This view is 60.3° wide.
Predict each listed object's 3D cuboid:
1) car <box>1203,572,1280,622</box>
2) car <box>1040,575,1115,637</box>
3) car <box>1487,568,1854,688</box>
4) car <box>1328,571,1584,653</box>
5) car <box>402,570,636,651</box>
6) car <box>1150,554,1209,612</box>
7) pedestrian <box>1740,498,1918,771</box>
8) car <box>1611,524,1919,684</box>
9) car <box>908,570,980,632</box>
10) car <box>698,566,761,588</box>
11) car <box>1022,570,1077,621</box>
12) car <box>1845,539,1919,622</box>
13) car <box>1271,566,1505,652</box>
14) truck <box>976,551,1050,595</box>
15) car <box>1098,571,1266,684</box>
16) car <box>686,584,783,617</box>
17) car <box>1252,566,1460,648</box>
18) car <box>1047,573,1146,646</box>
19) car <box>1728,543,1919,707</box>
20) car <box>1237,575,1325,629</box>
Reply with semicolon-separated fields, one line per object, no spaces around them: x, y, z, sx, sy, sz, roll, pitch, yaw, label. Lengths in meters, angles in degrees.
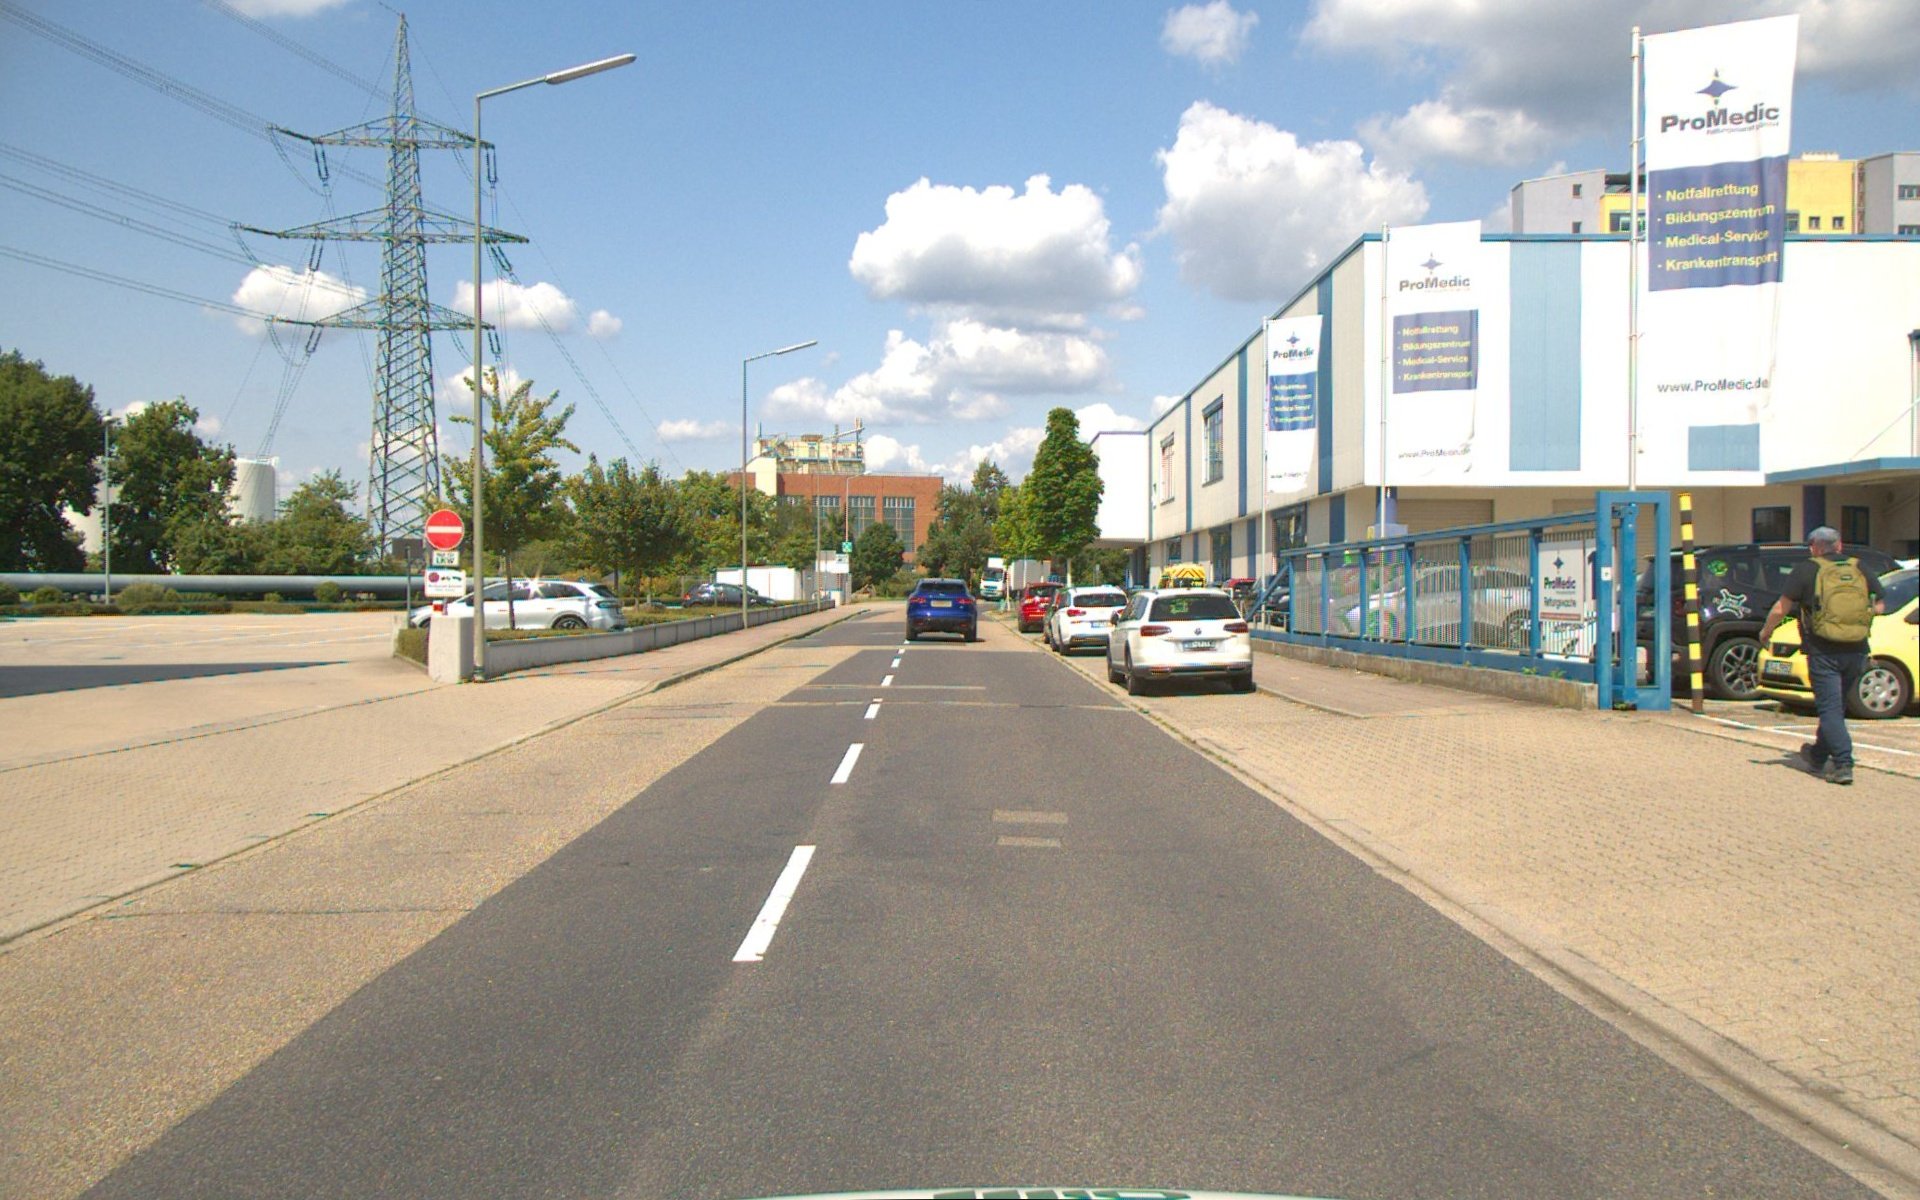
9.915;-0.084;58.479;1.953;1.686;4.289;0;-1;-1;car
3.035;0.138;43.412;1.634;1.547;3.994;1;0;-1;car
9.107;0.329;21.441;3.905;1.445;2.000;-1;1;0;car
9.226;0.196;31.016;4.192;1.445;2.000;-1;1;0;car
-9.711;0.211;36.738;4.661;1.630;1.998;-1;0;-4;car
9.805;-0.755;74.168;1.884;2.507;5.259;1;0;-1;car
5.972;0.226;11.404;0.754;1.787;0.787;-2;0;-1;pedestrian
9.634;0.050;18.845;3.729;1.709;1.791;1;0;-1;car
-0.459;0.011;45.695;1.871;1.621;4.700;1;0;-1;car
-15.131;-1.481;108.430;3.917;1.402;1.798;0;1;34;car
3.041;-0.156;56.672;1.719;1.679;4.678;1;0;1;car
21.784;-0.435;36.132;3.975;1.770;1.806;0;1;-1;car
8.570;0.158;33.392;4.141;1.676;2.147;0;1;-2;car
4.677;-2.342;142.971;2.278;3.629;9.351;2;2;29;truck
3.260;0.367;25.139;1.830;1.547;4.597;1;0;-1;car
-9.594;0.021;70.636;3.906;1.400;1.803;0;1;-1;car
8.492;0.134;35.715;4.002;1.715;1.999;0;0;-2;car
3.047;0.195;37.813;1.798;1.547;4.460;1;0;-1;car
9.767;0.186;16.510;3.335;1.516;1.791;-2;0;-1;car
9.932;0.097;51.507;1.790;1.539;4.639;0;-2;-1;car
